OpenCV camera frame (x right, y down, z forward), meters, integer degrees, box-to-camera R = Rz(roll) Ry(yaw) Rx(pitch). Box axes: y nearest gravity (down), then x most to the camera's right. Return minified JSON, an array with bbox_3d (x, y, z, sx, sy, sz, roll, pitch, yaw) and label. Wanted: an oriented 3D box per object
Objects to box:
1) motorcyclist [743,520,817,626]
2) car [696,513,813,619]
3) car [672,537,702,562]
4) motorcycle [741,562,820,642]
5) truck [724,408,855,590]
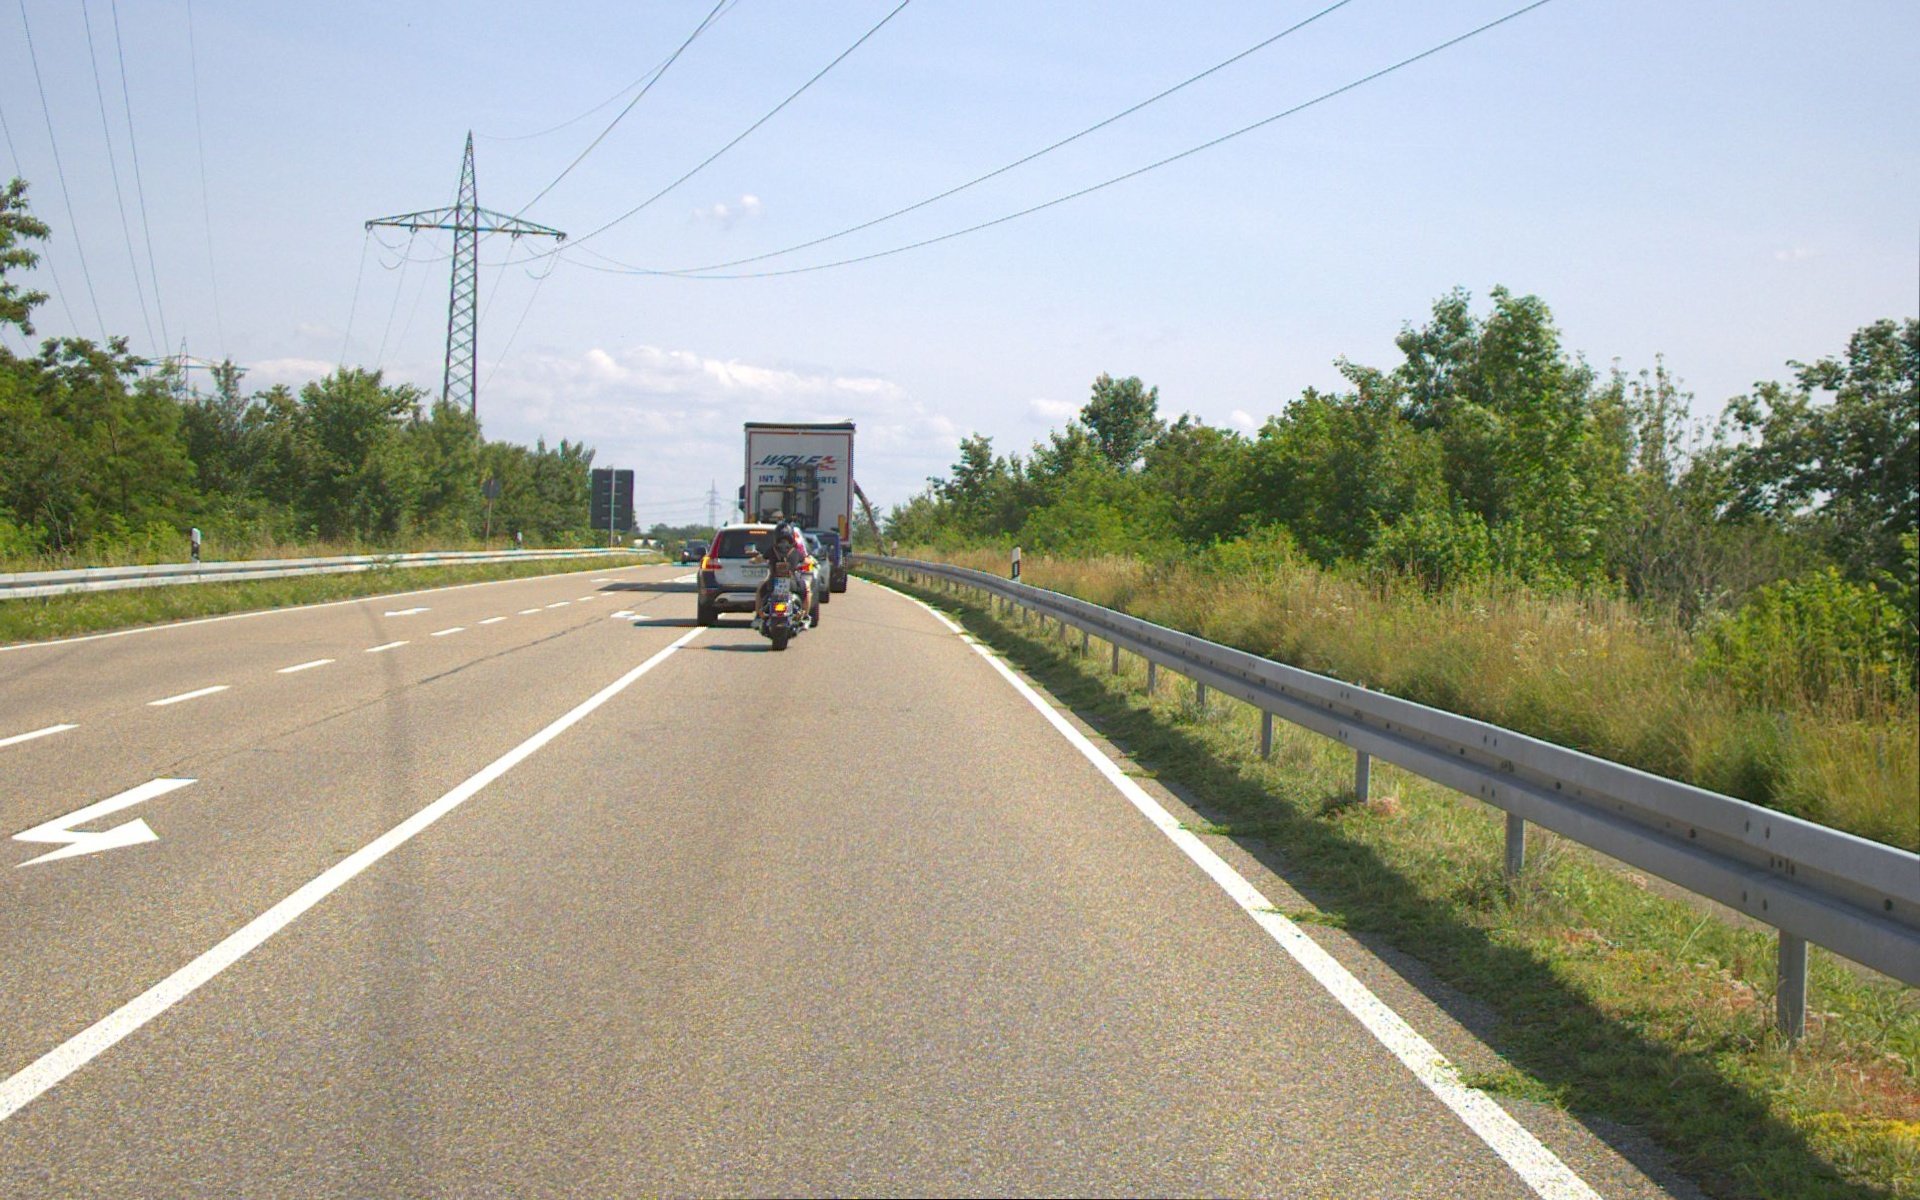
[{"bbox_3d":[-2.219,-0.339,42.254,0.837,1.276,0.919,1,1,-5],"label":"motorcyclist"},{"bbox_3d":[-3.138,-0.540,52.713,1.701,1.531,3.499,1,1,-3],"label":"car"},{"bbox_3d":[-16.930,-3.151,213.133,1.727,1.486,4.423,1,1,-4],"label":"car"},{"bbox_3d":[-2.218,0.009,42.192,0.858,0.912,2.228,2,1,-5],"label":"motorcycle"},{"bbox_3d":[-4.274,-2.514,87.887,2.967,4.172,14.823,1,1,-2],"label":"truck"}]
